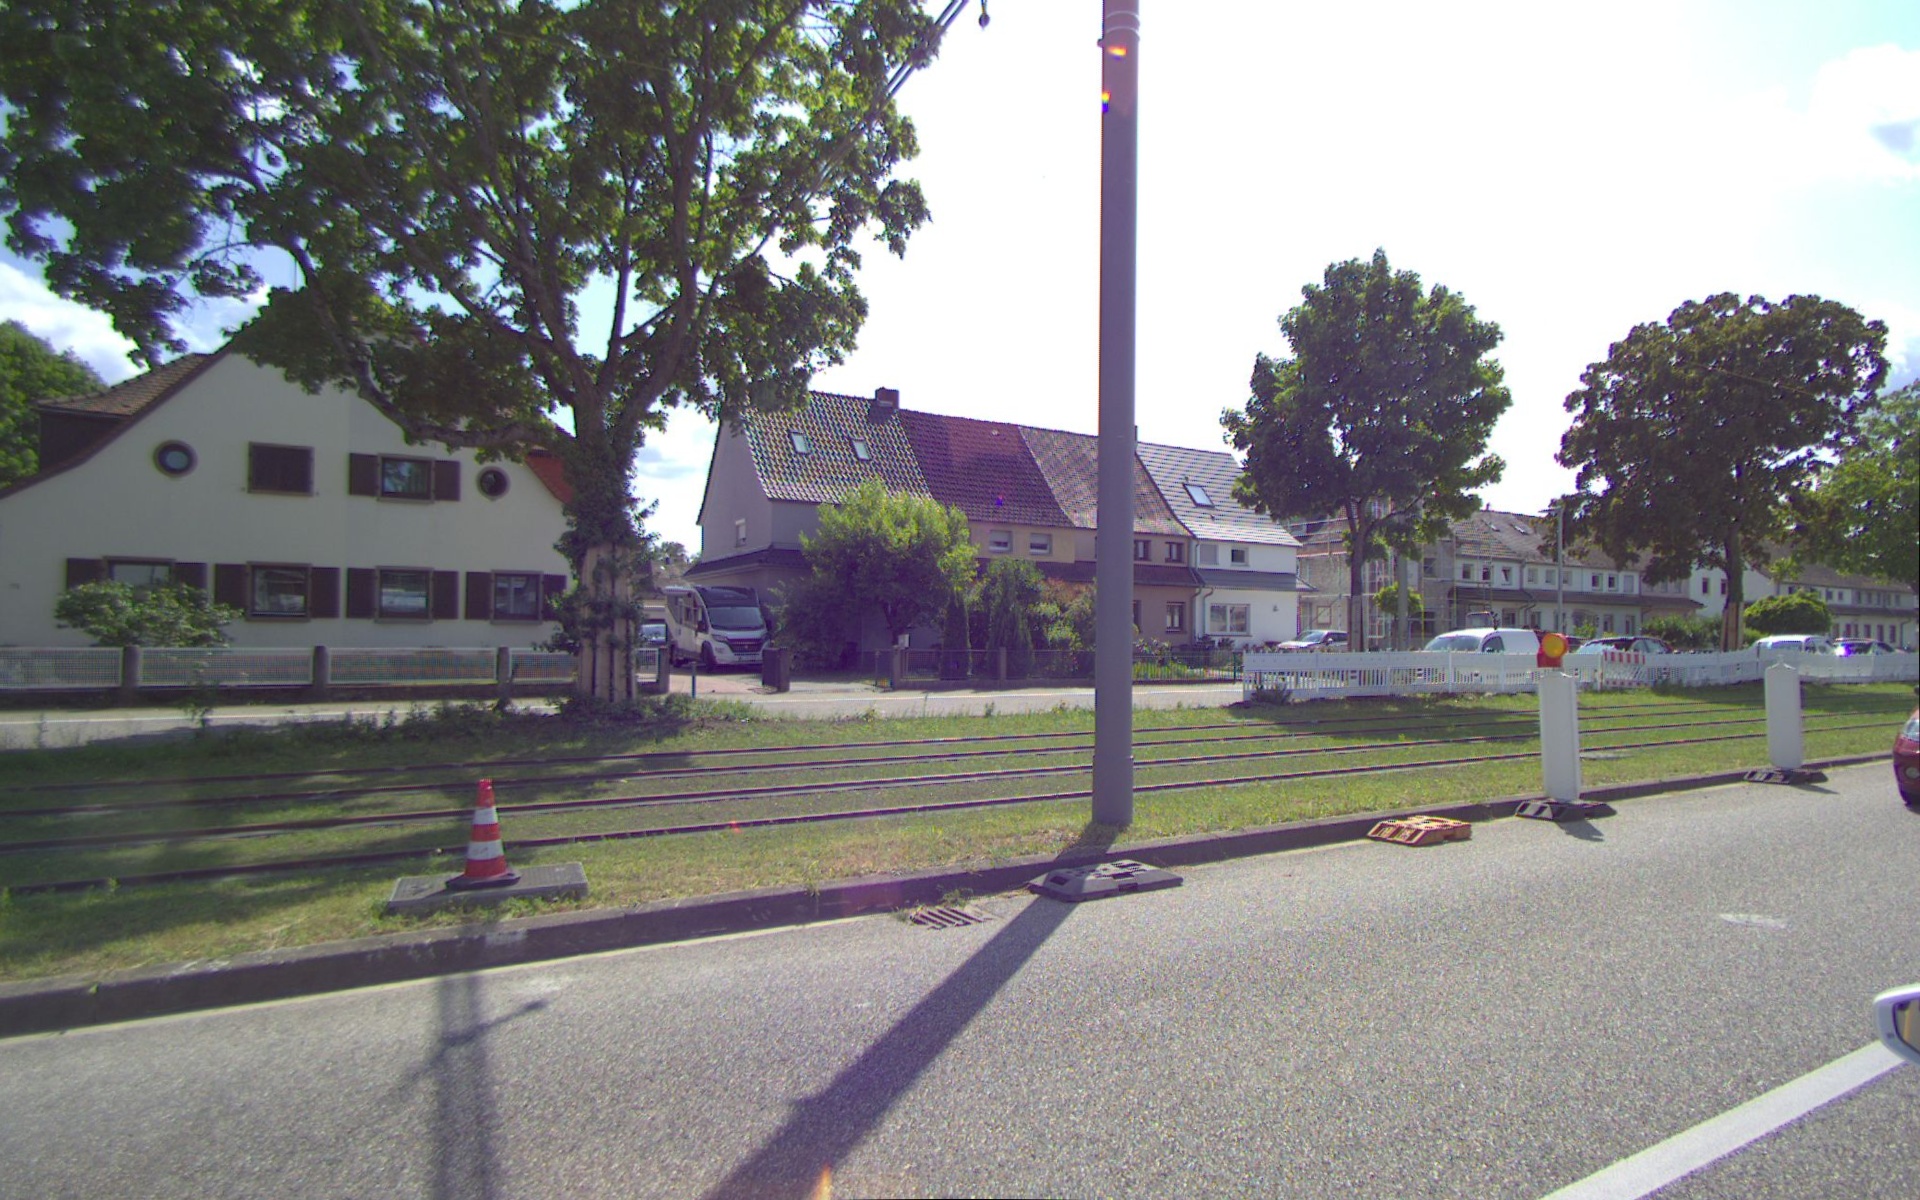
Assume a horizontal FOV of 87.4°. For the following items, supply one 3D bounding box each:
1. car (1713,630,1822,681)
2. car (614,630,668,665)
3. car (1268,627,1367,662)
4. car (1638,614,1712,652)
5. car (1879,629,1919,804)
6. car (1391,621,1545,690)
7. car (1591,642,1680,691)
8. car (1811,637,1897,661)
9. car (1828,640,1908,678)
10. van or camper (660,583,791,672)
[{"bbox_3d":[27.820,1.930,34.585,3.853,1.673,1.615,2,-3,-30],"label":"car"},{"bbox_3d":[-12.588,1.861,39.555,1.330,1.189,2.846,2,0,-32],"label":"car"},{"bbox_3d":[14.480,1.813,40.605,4.072,1.291,1.527,2,-3,-30],"label":"car"},{"bbox_3d":[41.012,1.882,57.631,3.953,2.040,1.984,2,0,-30],"label":"car"},{"bbox_3d":[10.008,1.024,9.008,3.676,1.488,1.571,2,-2,-30],"label":"car"},{"bbox_3d":[13.028,1.421,25.714,3.953,1.647,1.646,2,-3,-30],"label":"car"},{"bbox_3d":[19.508,1.917,29.000,2.416,1.365,1.069,2,-3,-26],"label":"car"},{"bbox_3d":[59.581,3.237,67.003,1.706,1.529,3.967,2,-2,-30],"label":"car"},{"bbox_3d":[34.582,2.252,38.248,3.077,1.395,1.344,2,-3,-30],"label":"car"},{"bbox_3d":[-7.910,0.819,33.306,2.470,2.667,6.304,2,0,-30],"label":"van or camper"}]
